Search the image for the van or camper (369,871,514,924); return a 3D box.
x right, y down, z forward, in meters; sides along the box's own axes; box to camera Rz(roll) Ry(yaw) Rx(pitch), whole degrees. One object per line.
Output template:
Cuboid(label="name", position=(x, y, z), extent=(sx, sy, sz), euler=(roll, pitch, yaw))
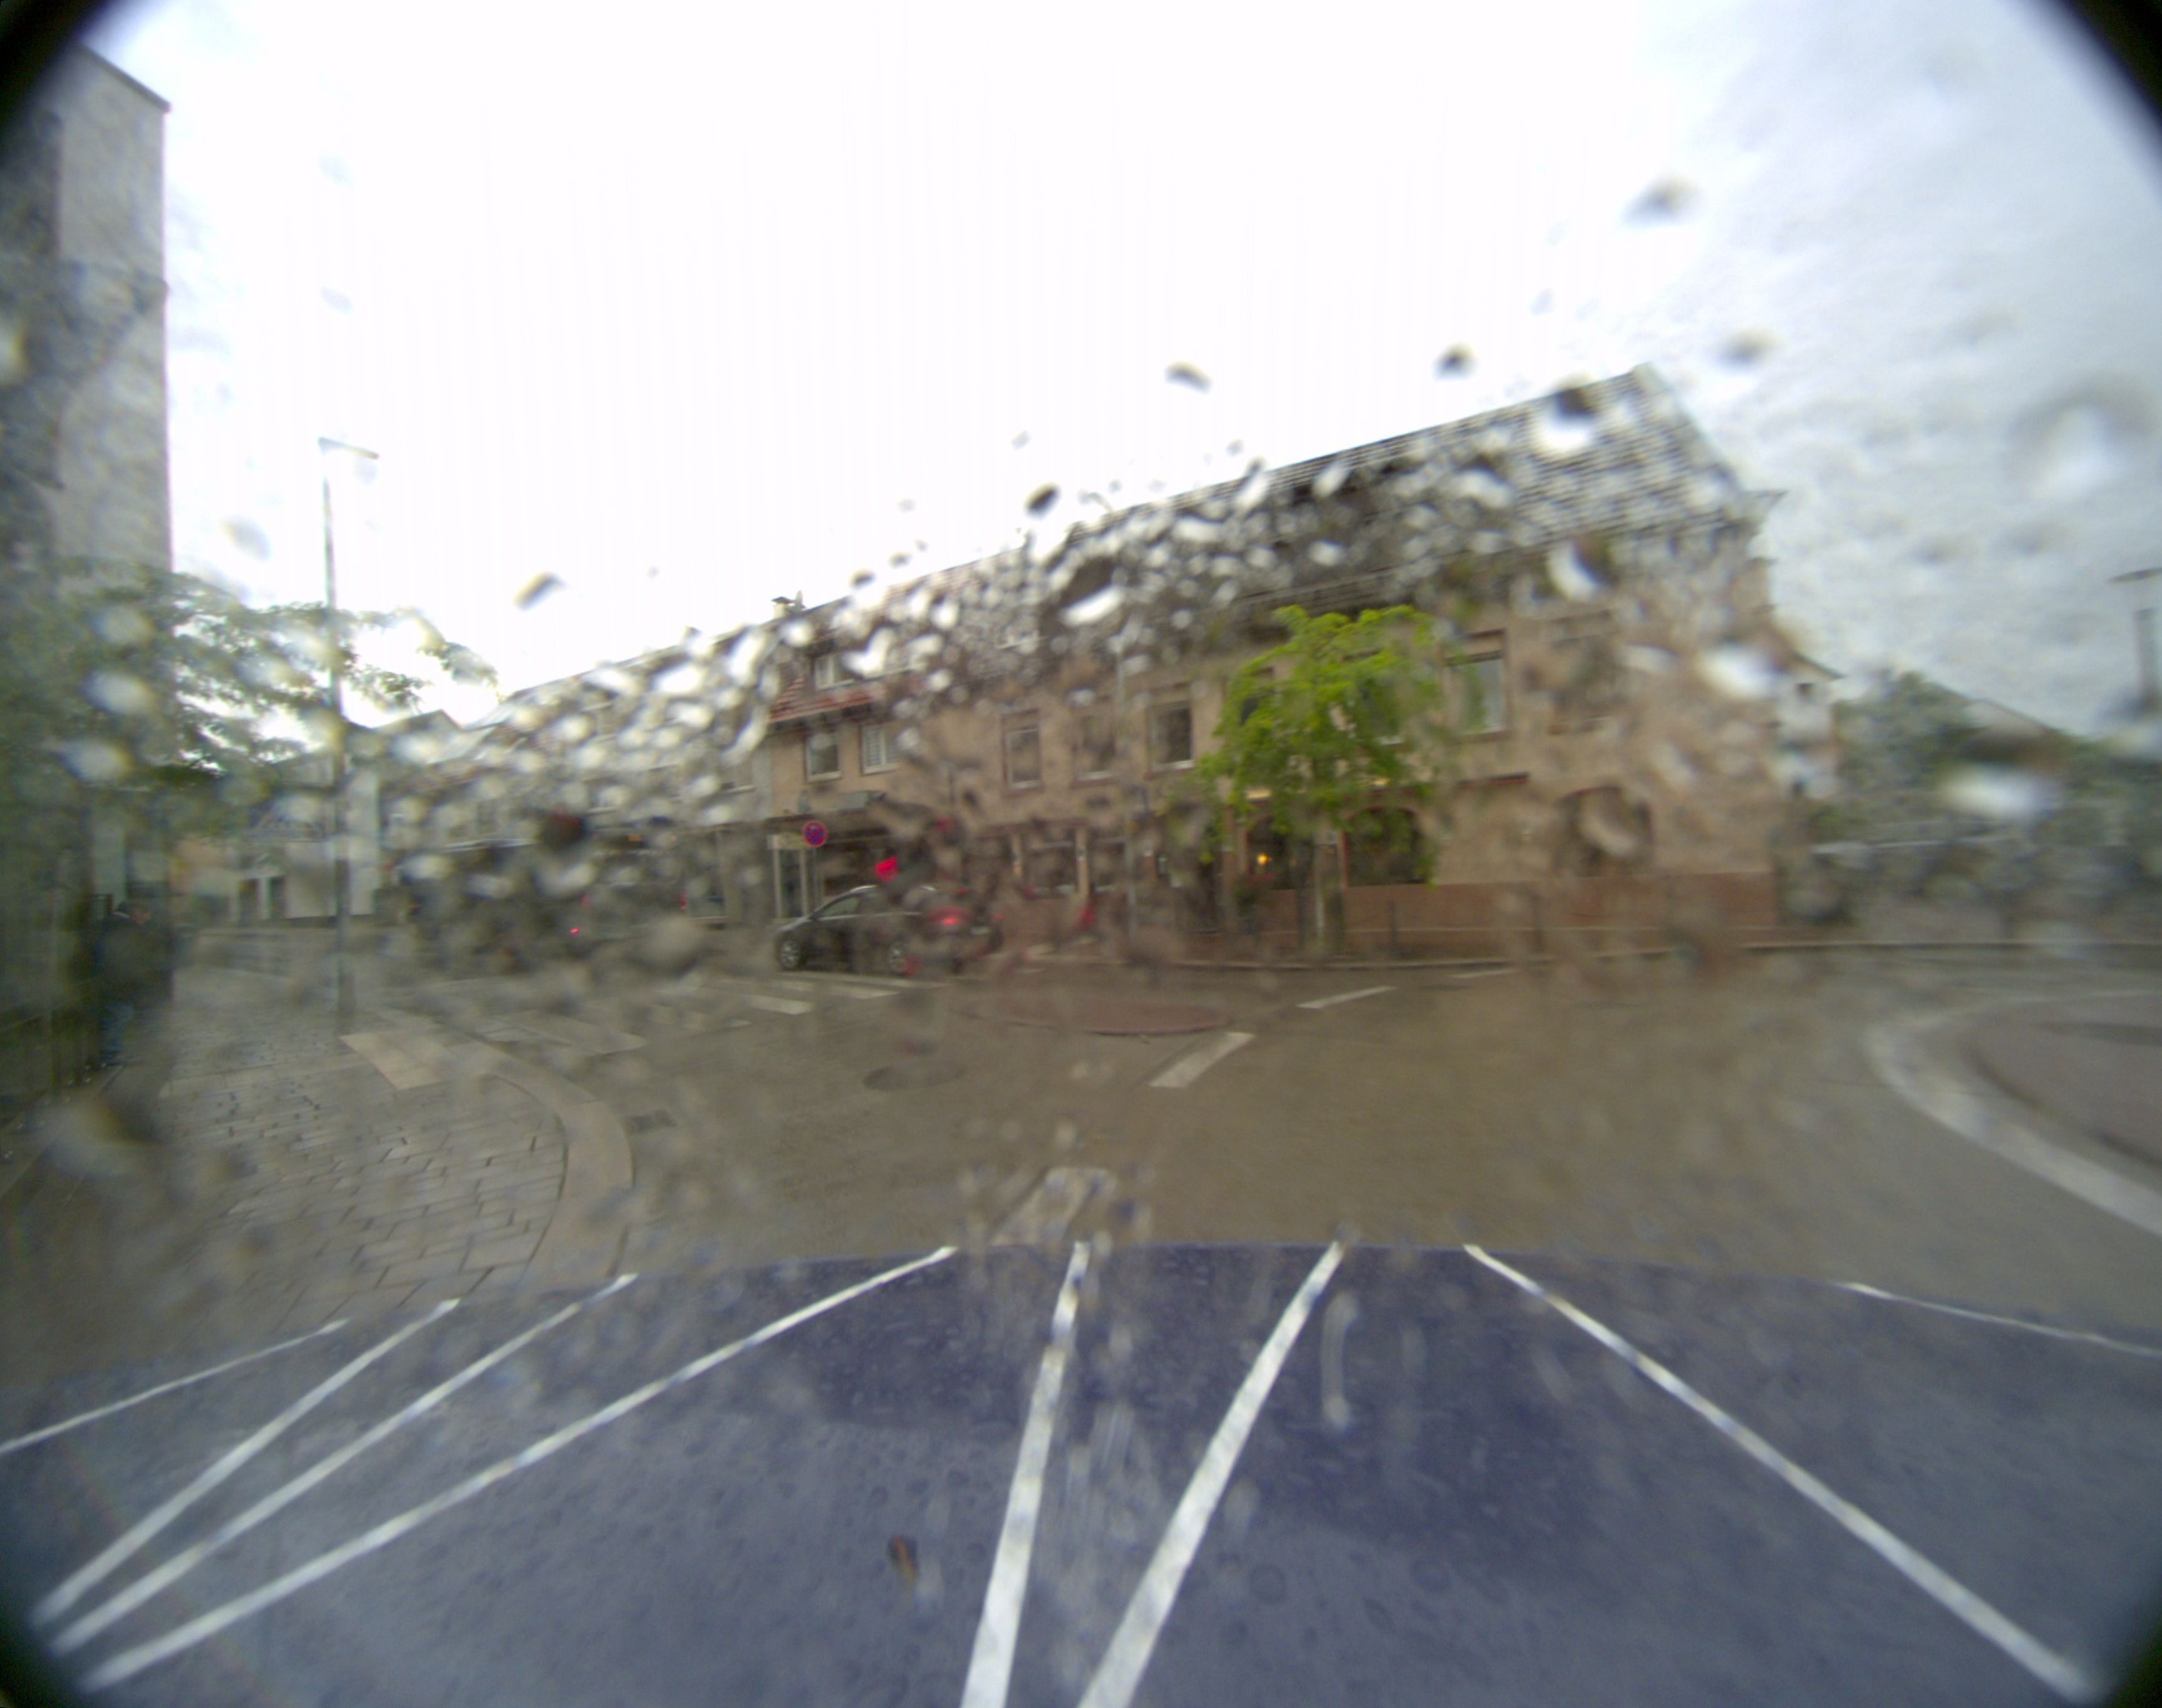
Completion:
Cuboid(label="van or camper", position=(-32.170, 2.138, 38.428), extent=(1.995, 1.923, 5.045), euler=(-1, 5, 28))

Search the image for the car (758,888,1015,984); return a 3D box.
Cuboid(label="car", position=(-3.453, 1.363, 13.195), extent=(4.457, 1.421, 1.674), euler=(-3, -3, 31))

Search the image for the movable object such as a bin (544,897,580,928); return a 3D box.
Cuboid(label="movable object such as a bin", position=(-18.753, 2.113, 27.464), extent=(0.700, 1.053, 0.797), euler=(-2, 1, 28))

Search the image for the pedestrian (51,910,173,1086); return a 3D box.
Cuboid(label="pedestrian", position=(-9.497, 1.364, 7.456), extent=(0.702, 1.596, 0.585), euler=(-2, -2, 25))

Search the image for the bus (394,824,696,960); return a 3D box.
Cuboid(label="bus", position=(-15.215, 1.029, 21.080), extent=(10.917, 3.062, 2.738), euler=(-2, 0, 32))

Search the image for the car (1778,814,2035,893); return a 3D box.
Cuboid(label="car", position=(22.566, 0.020, 21.097), extent=(4.476, 2.002, 2.004), euler=(-1, 0, 34))
